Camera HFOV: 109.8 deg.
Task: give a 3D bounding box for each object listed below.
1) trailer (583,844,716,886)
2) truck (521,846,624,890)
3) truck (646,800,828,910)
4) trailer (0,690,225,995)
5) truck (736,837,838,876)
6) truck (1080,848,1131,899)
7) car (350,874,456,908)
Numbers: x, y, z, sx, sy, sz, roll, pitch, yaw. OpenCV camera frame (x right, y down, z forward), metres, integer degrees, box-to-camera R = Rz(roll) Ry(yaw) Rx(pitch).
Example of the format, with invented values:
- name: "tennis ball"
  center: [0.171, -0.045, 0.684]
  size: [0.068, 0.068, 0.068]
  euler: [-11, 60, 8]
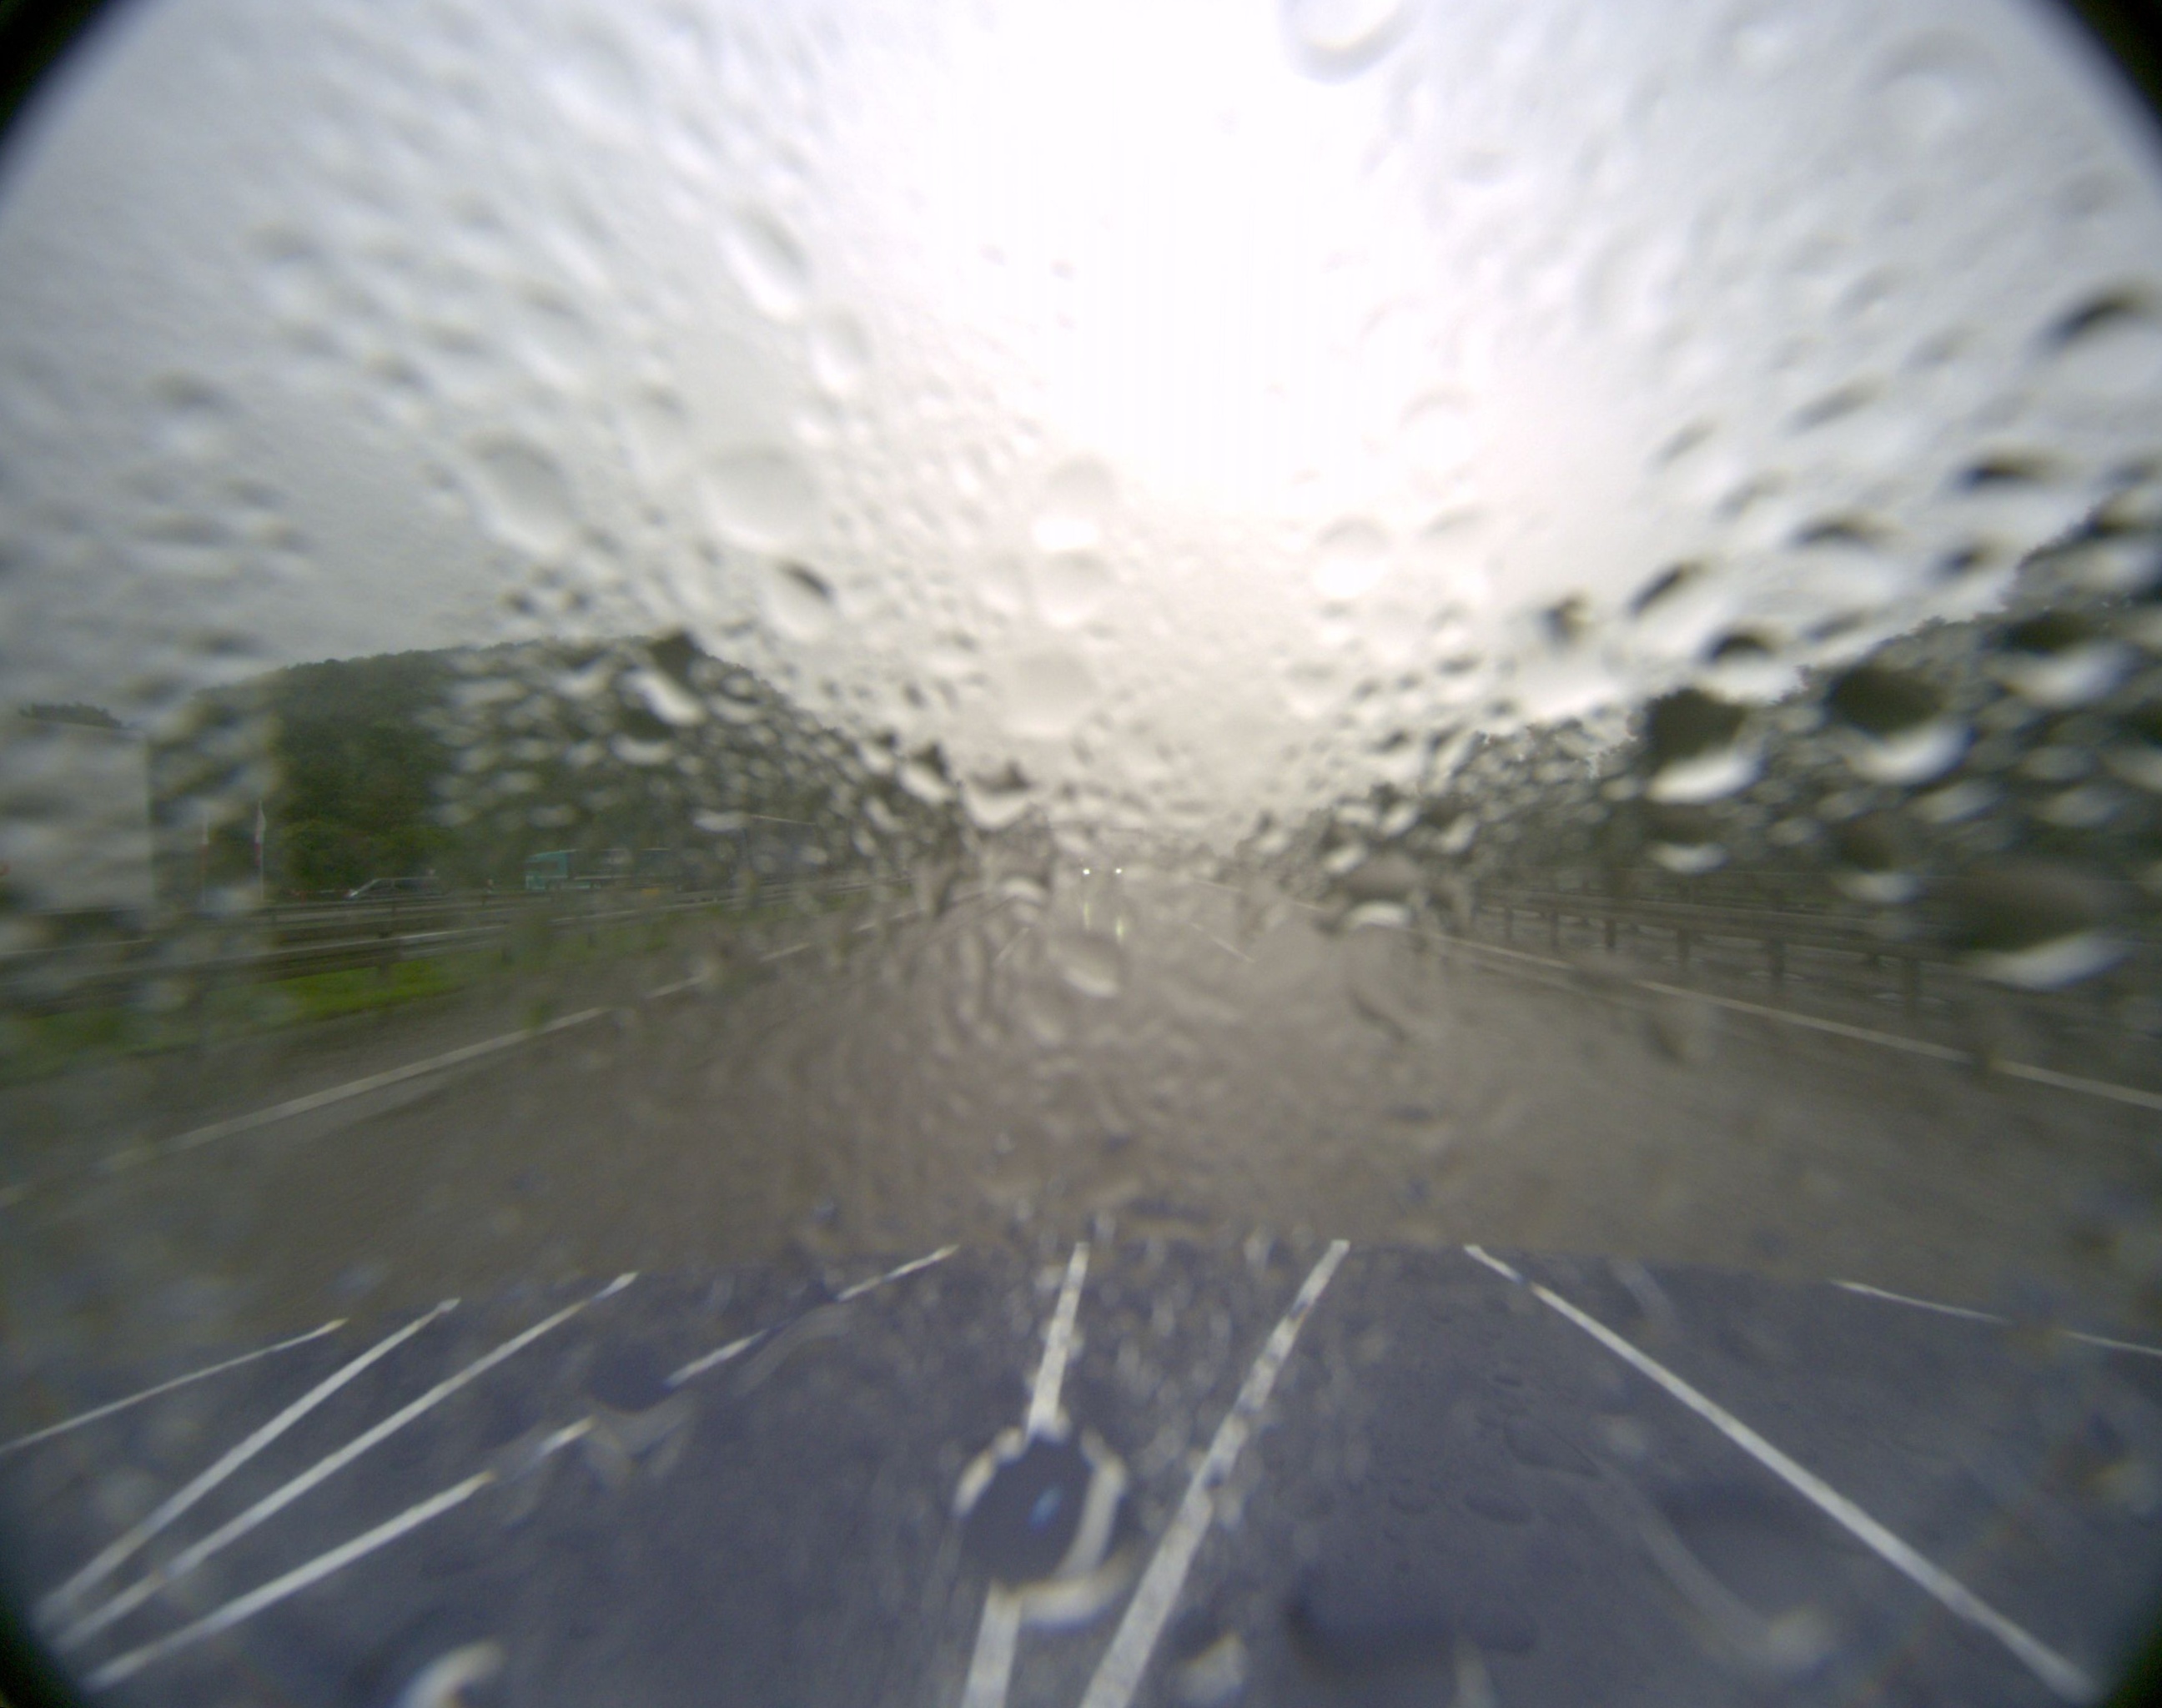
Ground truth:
- name: "trailer"
  center: [-44.372, 1.020, 78.730]
  size: [2.786, 3.878, 11.772]
  euler: [-2, 1, 35]
- name: "truck"
  center: [-48.580, 1.230, 72.814]
  size: [2.750, 3.844, 7.548]
  euler: [-2, 1, 35]
- name: "truck"
  center: [-16.084, 0.040, 36.983]
  size: [3.409, 4.376, 11.049]
  euler: [-3, 0, 1]
- name: "trailer"
  center: [-16.865, -0.069, 7.212]
  size: [3.525, 4.237, 11.920]
  euler: [-2, 1, 2]
- name: "truck"
  center: [-35.321, 0.174, 91.988]
  size: [2.872, 4.232, 11.894]
  euler: [-2, 1, 33]
- name: "truck"
  center: [1.019, 0.751, 33.567]
  size: [1.998, 2.002, 7.575]
  euler: [0, 0, 1]
- name: "car"
  center: [-47.025, 2.530, 52.836]
  size: [1.995, 2.002, 5.062]
  euler: [-1, 0, 23]
